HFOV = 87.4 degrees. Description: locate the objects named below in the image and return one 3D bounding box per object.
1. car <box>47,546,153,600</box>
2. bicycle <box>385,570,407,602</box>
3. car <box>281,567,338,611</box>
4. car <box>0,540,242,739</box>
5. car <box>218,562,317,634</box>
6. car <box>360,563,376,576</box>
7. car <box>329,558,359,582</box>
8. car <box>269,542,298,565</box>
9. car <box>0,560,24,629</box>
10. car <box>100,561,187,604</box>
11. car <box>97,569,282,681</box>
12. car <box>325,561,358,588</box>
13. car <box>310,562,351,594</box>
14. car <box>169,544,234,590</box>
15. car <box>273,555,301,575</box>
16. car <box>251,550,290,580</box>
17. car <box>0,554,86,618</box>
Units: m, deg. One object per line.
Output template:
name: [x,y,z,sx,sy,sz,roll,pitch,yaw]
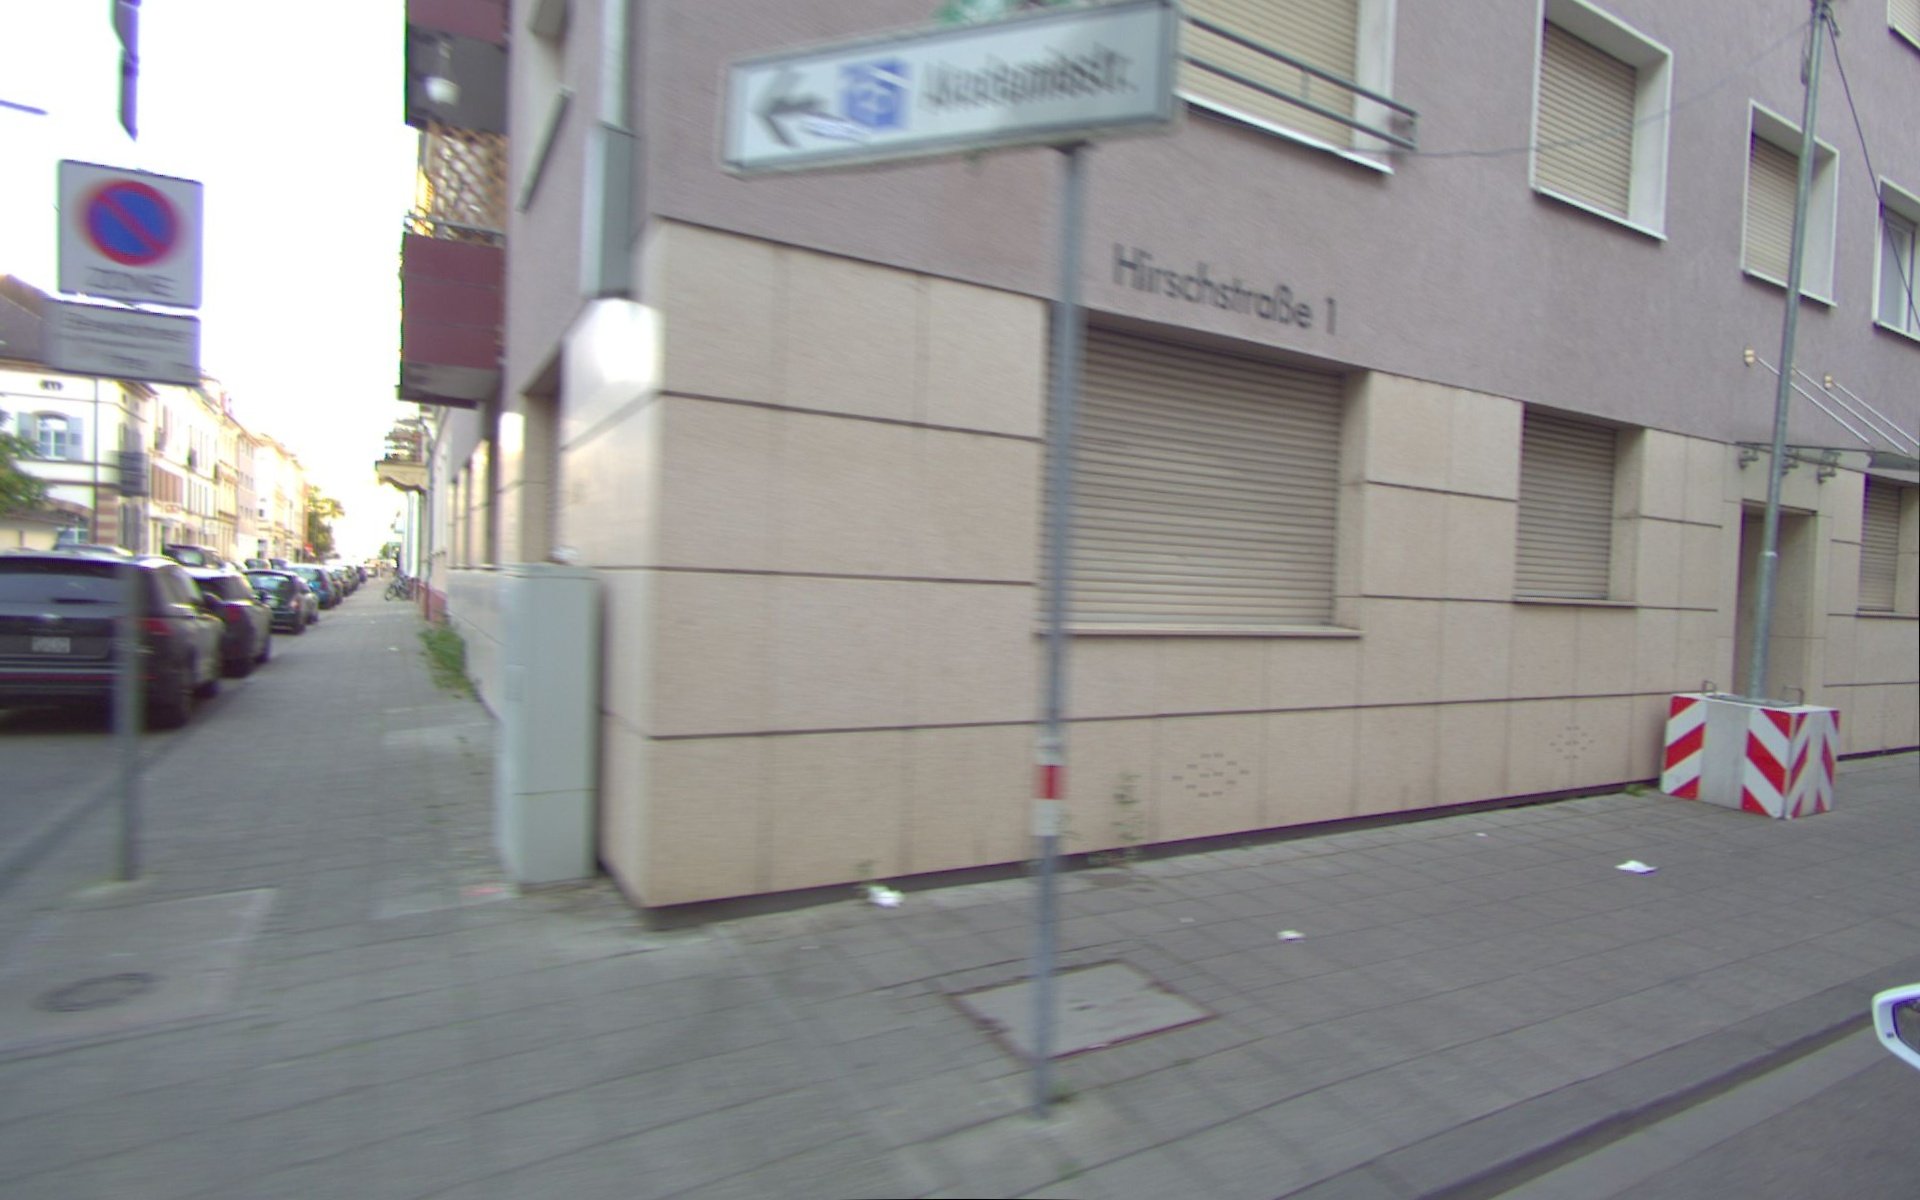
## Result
car: [-27.910,-0.864,32.729,1.823,1.630,3.872,1,1,-29]
bicycle: [-23.670,-0.616,42.182,0.785,1.278,2.931,-1,3,-29]
car: [-24.091,-0.411,37.258,1.480,1.541,3.160,0,1,-28]
car: [-8.719,0.328,10.315,1.776,1.677,3.813,3,-1,-31]
car: [-16.646,-0.082,24.275,1.596,1.609,3.160,0,1,-28]
car: [-69.799,-3.557,118.509,1.480,1.529,3.160,0,1,-28]
car: [-40.512,-1.949,66.127,1.480,1.529,3.160,0,1,-28]
car: [-62.835,-4.257,93.325,1.823,1.987,3.872,1,1,-29]
car: [-21.512,-0.124,21.058,1.823,1.504,3.872,1,1,-29]
car: [-30.775,-0.659,37.972,1.823,1.504,3.872,1,1,-29]
car: [-11.481,0.311,15.223,1.741,1.467,3.813,1,0,-30]
car: [-37.262,-1.543,60.578,1.480,1.529,3.160,0,1,-28]
car: [-31.191,-1.097,49.834,1.480,1.529,3.160,0,1,-28]
car: [-35.168,-1.512,46.652,1.823,1.987,3.872,1,1,-29]
car: [-53.146,-2.720,79.390,1.480,1.529,3.160,0,1,-28]
car: [-48.667,-2.451,70.978,1.823,1.987,3.872,1,1,-29]
car: [-24.099,-0.387,25.667,1.823,1.504,3.872,1,1,-29]
